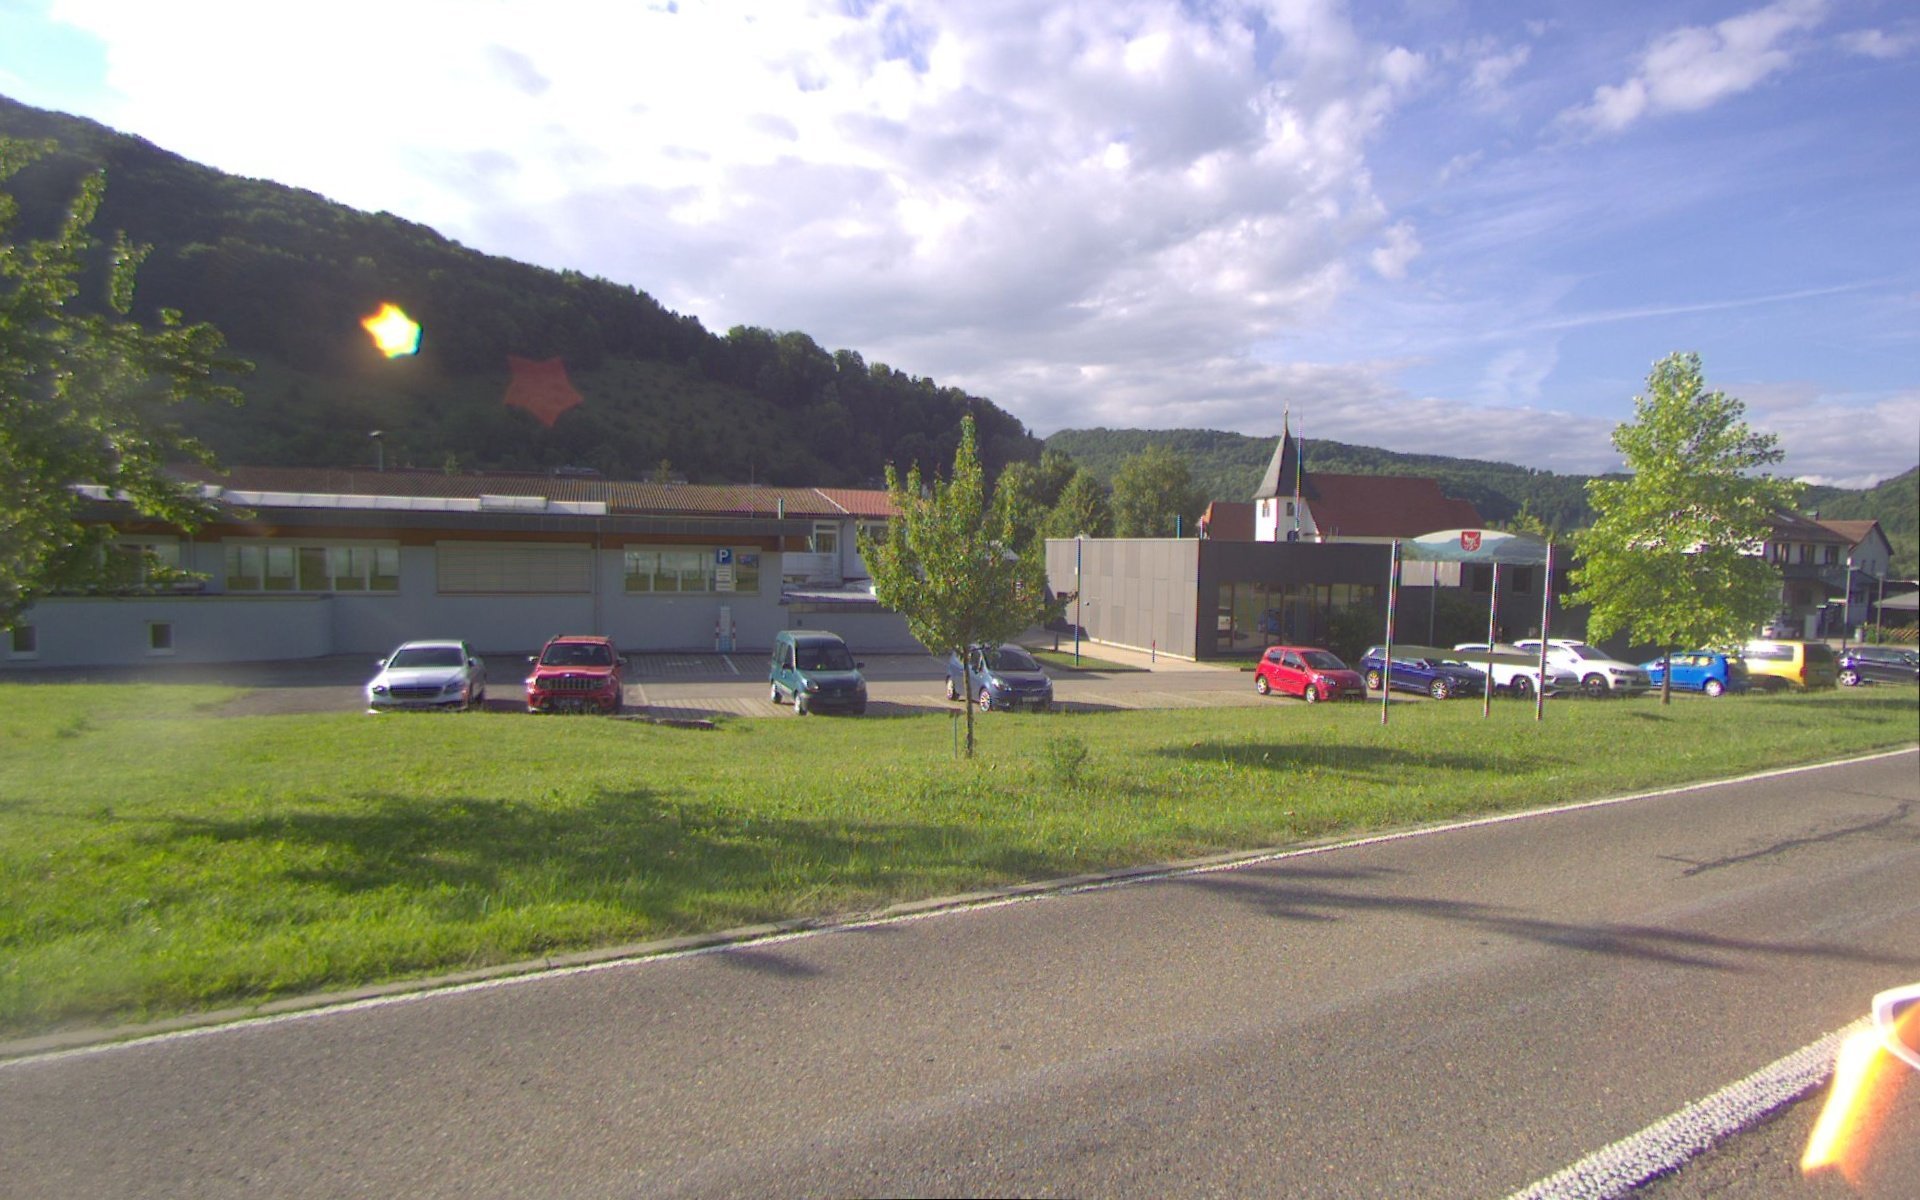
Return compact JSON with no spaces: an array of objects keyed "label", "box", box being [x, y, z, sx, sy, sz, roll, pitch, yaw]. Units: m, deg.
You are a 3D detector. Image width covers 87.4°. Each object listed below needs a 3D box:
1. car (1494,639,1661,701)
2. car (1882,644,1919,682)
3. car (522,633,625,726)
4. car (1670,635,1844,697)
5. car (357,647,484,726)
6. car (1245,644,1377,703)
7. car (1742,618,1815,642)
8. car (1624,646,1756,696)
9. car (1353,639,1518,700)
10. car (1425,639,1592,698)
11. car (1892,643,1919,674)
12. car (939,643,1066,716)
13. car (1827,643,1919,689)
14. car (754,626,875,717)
[{"label":"car","box":[20.758,2.308,33.988,1.971,1.725,4.530,2,0,-21]},{"label":"car","box":[42.024,2.744,41.975,1.853,1.513,4.805,2,0,-21]},{"label":"car","box":[-8.489,1.690,22.378,1.818,1.691,4.319,2,0,-17]},{"label":"car","box":[28.728,2.340,36.391,1.969,1.893,4.607,2,0,-18]},{"label":"car","box":[-11.397,1.781,21.479,1.825,1.386,3.881,2,-1,-20]},{"label":"car","box":[10.166,2.094,29.332,1.592,1.416,3.714,2,0,-21]},{"label":"car","box":[56.530,2.057,69.399,3.928,1.461,1.767,2,0,-10]},{"label":"car","box":[26.024,2.500,35.931,1.610,1.492,3.484,2,0,-24]},{"label":"car","box":[14.706,2.110,31.381,1.971,1.575,4.530,2,0,-21]},{"label":"car","box":[17.687,2.181,32.649,1.971,1.575,4.530,2,0,-21]},{"label":"car","box":[43.686,2.652,43.903,1.737,1.327,3.974,2,0,-25]},{"label":"car","box":[0.983,1.937,25.526,1.661,1.471,3.997,-1,1,-23]},{"label":"car","box":[37.800,2.651,40.346,1.971,1.659,4.017,2,0,-21]},{"label":"car","box":[-3.678,1.641,24.579,1.661,1.817,4.979,2,0,-23]}]
